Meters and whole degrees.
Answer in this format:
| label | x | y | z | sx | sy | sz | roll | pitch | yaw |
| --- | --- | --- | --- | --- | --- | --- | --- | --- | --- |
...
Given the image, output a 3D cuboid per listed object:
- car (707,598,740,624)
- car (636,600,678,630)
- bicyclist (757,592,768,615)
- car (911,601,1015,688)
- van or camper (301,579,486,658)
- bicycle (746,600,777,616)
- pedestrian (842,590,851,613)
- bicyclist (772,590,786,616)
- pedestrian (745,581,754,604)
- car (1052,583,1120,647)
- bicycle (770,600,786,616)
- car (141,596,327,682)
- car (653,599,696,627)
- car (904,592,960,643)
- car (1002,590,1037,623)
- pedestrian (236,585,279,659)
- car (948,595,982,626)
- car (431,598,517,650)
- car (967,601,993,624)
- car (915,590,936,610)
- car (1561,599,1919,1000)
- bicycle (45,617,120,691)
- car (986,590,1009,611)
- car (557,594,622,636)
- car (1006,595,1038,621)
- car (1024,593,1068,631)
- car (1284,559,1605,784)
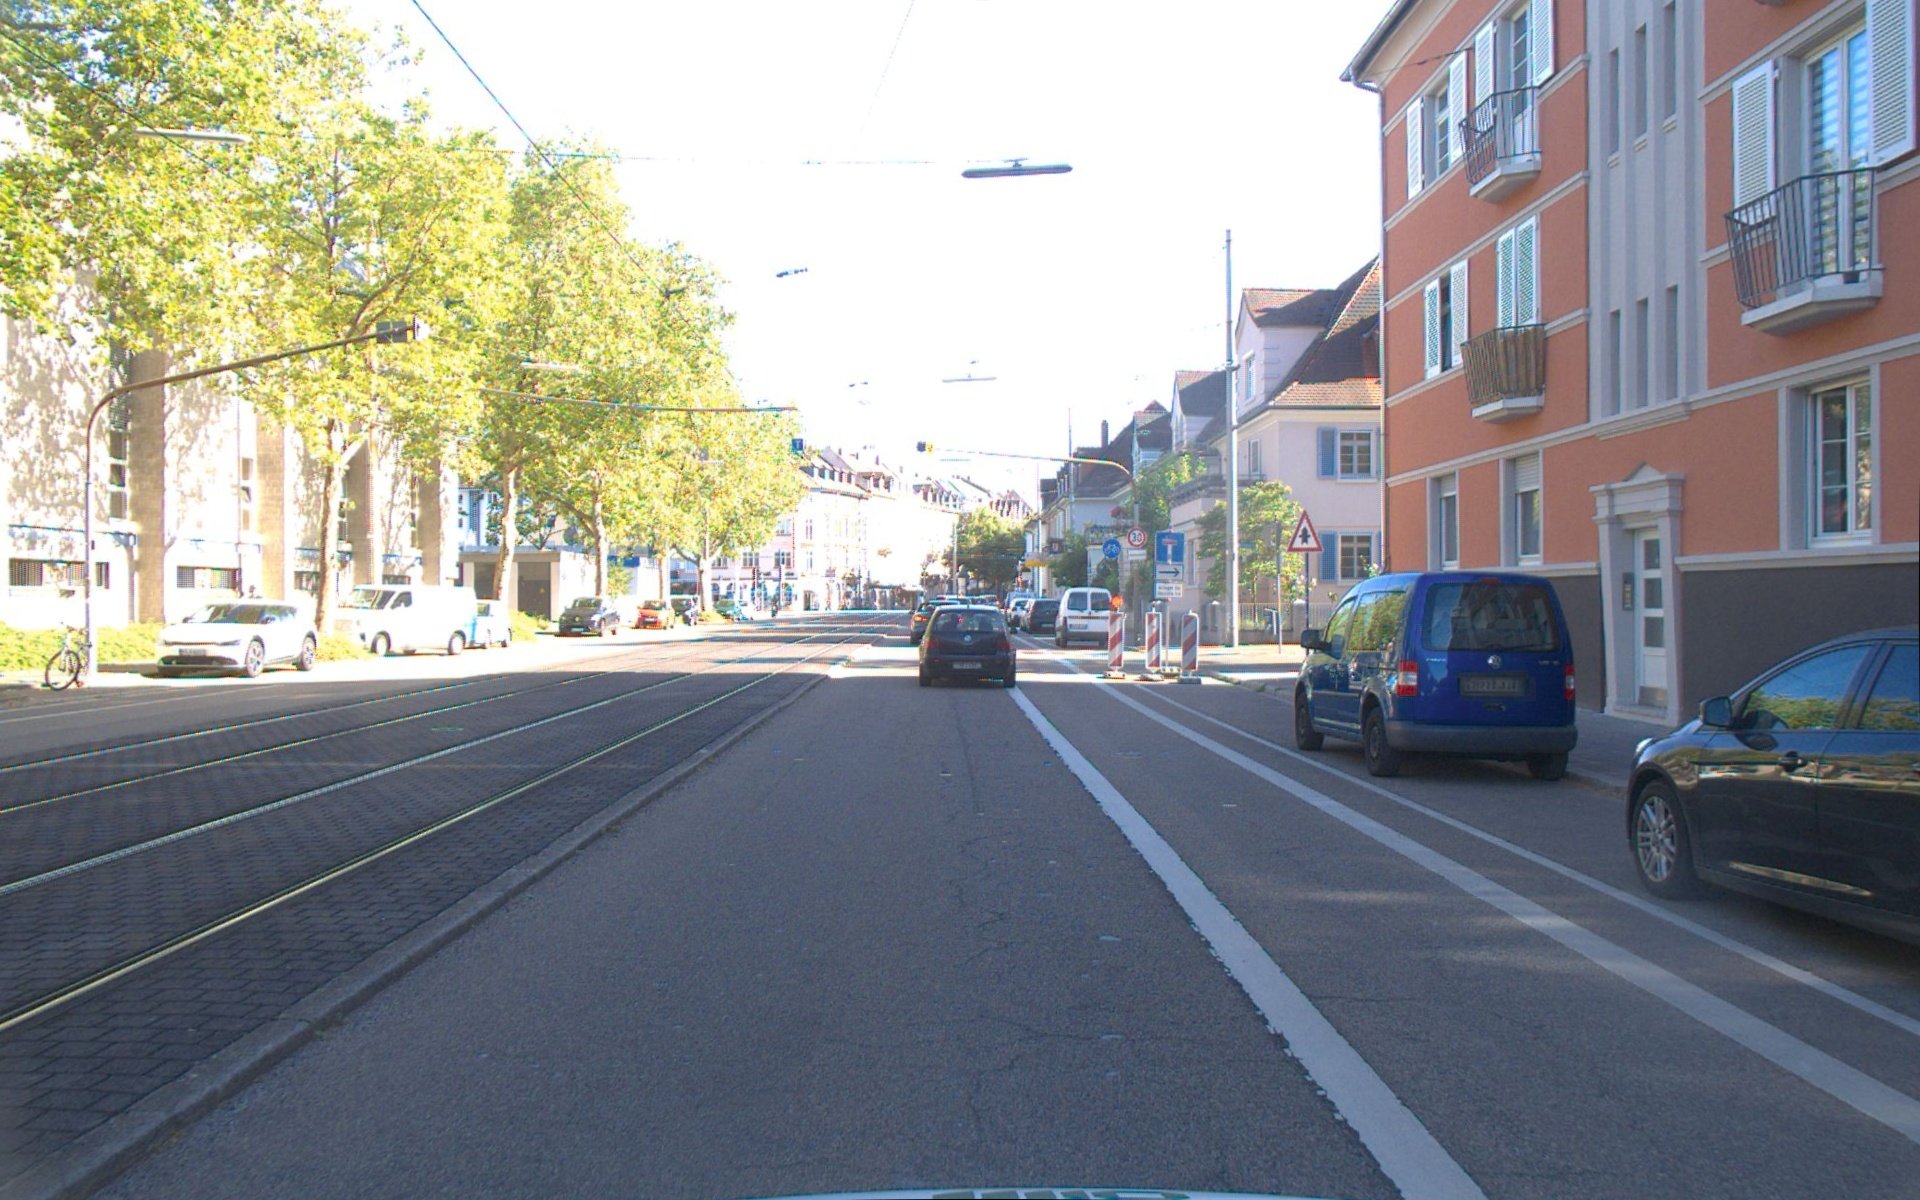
| label | x | y | z | sx | sy | sz | roll | pitch | yaw |
| --- | --- | --- | --- | --- | --- | --- | --- | --- | --- |
| car | -16.380 | 0.755 | 114.774 | 1.846 | 1.698 | 3.803 | 1 | 1 | -2 |
| car | -15.738 | 0.790 | 86.008 | 1.538 | 1.560 | 3.571 | 0 | -1 | -1 |
| bicyclist | -17.675 | 0.341 | 148.110 | 0.858 | 2.044 | 0.706 | 1 | 0 | -1 |
| car | -0.011 | 0.743 | 29.659 | 1.713 | 1.399 | 3.999 | -1 | 1 | -2 |
| van or camper | -15.365 | 0.475 | 45.213 | 2.017 | 1.983 | 5.191 | 2 | 1 | 19 |
| bicycle | -17.802 | 0.722 | 148.108 | 2.687 | 1.285 | 0.706 | 2 | 0 | -1 |
| pedestrian | -13.333 | 0.139 | 194.461 | 0.939 | 2.706 | 1.097 | 1 | 0 | -10 |
| bicyclist | -13.539 | 0.227 | 123.500 | 0.895 | 1.865 | 0.960 | 1 | 0 | -1 |
| pedestrian | -24.295 | -0.868 | 191.130 | 0.939 | 2.706 | 1.097 | 1 | 0 | -10 |
| car | 3.868 | 0.421 | 51.247 | 1.723 | 1.870 | 3.547 | 1 | 0 | -1 |
| bicycle | -13.552 | 0.589 | 123.356 | 0.895 | 1.102 | 3.202 | 1 | 1 | -1 |
| car | -15.167 | 0.760 | 34.865 | 1.971 | 1.600 | 4.691 | 1 | 1 | -2 |
| car | -16.390 | 0.716 | 95.041 | 1.756 | 1.491 | 3.835 | 2 | 0 | -1 |
| car | -0.874 | 0.528 | 53.352 | 1.713 | 1.564 | 3.891 | 0 | 1 | 0 |
| car | 3.346 | 0.360 | 93.614 | 1.780 | 1.830 | 3.999 | 0 | 0 | -1 |
| pedestrian | -17.819 | 0.550 | 41.966 | 0.780 | 1.852 | 0.670 | 1 | 0 | -1 |
| car | 0.217 | 0.506 | 81.753 | 1.603 | 1.498 | 3.729 | 0 | 0 | -1 |
| car | -15.422 | 0.728 | 52.673 | 1.542 | 1.533 | 4.090 | 1 | 1 | -1 |
| car | 1.311 | 0.812 | 109.750 | 1.603 | 1.498 | 3.729 | 0 | 0 | -1 |
| car | -2.782 | -0.005 | 133.425 | 1.603 | 1.498 | 3.729 | -2 | 0 | -1 |
| car | 4.549 | 0.799 | 7.455 | 1.719 | 1.538 | 4.760 | 1 | 0 | -3 |
| bicycle | -15.514 | 0.938 | 29.277 | 0.570 | 1.230 | 1.651 | 1 | 0 | -7 |
| car | 2.772 | 0.033 | 122.121 | 1.603 | 1.498 | 3.729 | 0 | 0 | -1 |
| car | -15.505 | 0.590 | 69.413 | 1.849 | 1.695 | 3.999 | 0 | 0 | -1 |
| car | 3.308 | 0.409 | 88.850 | 1.548 | 1.399 | 3.999 | 0 | 0 | -1 |
| car | 3.659 | 0.496 | 71.003 | 1.627 | 1.552 | 4.035 | 0 | 0 | -1 |
| car | 4.478 | 0.589 | 15.969 | 1.668 | 1.842 | 4.270 | 1 | 0 | -2 |
